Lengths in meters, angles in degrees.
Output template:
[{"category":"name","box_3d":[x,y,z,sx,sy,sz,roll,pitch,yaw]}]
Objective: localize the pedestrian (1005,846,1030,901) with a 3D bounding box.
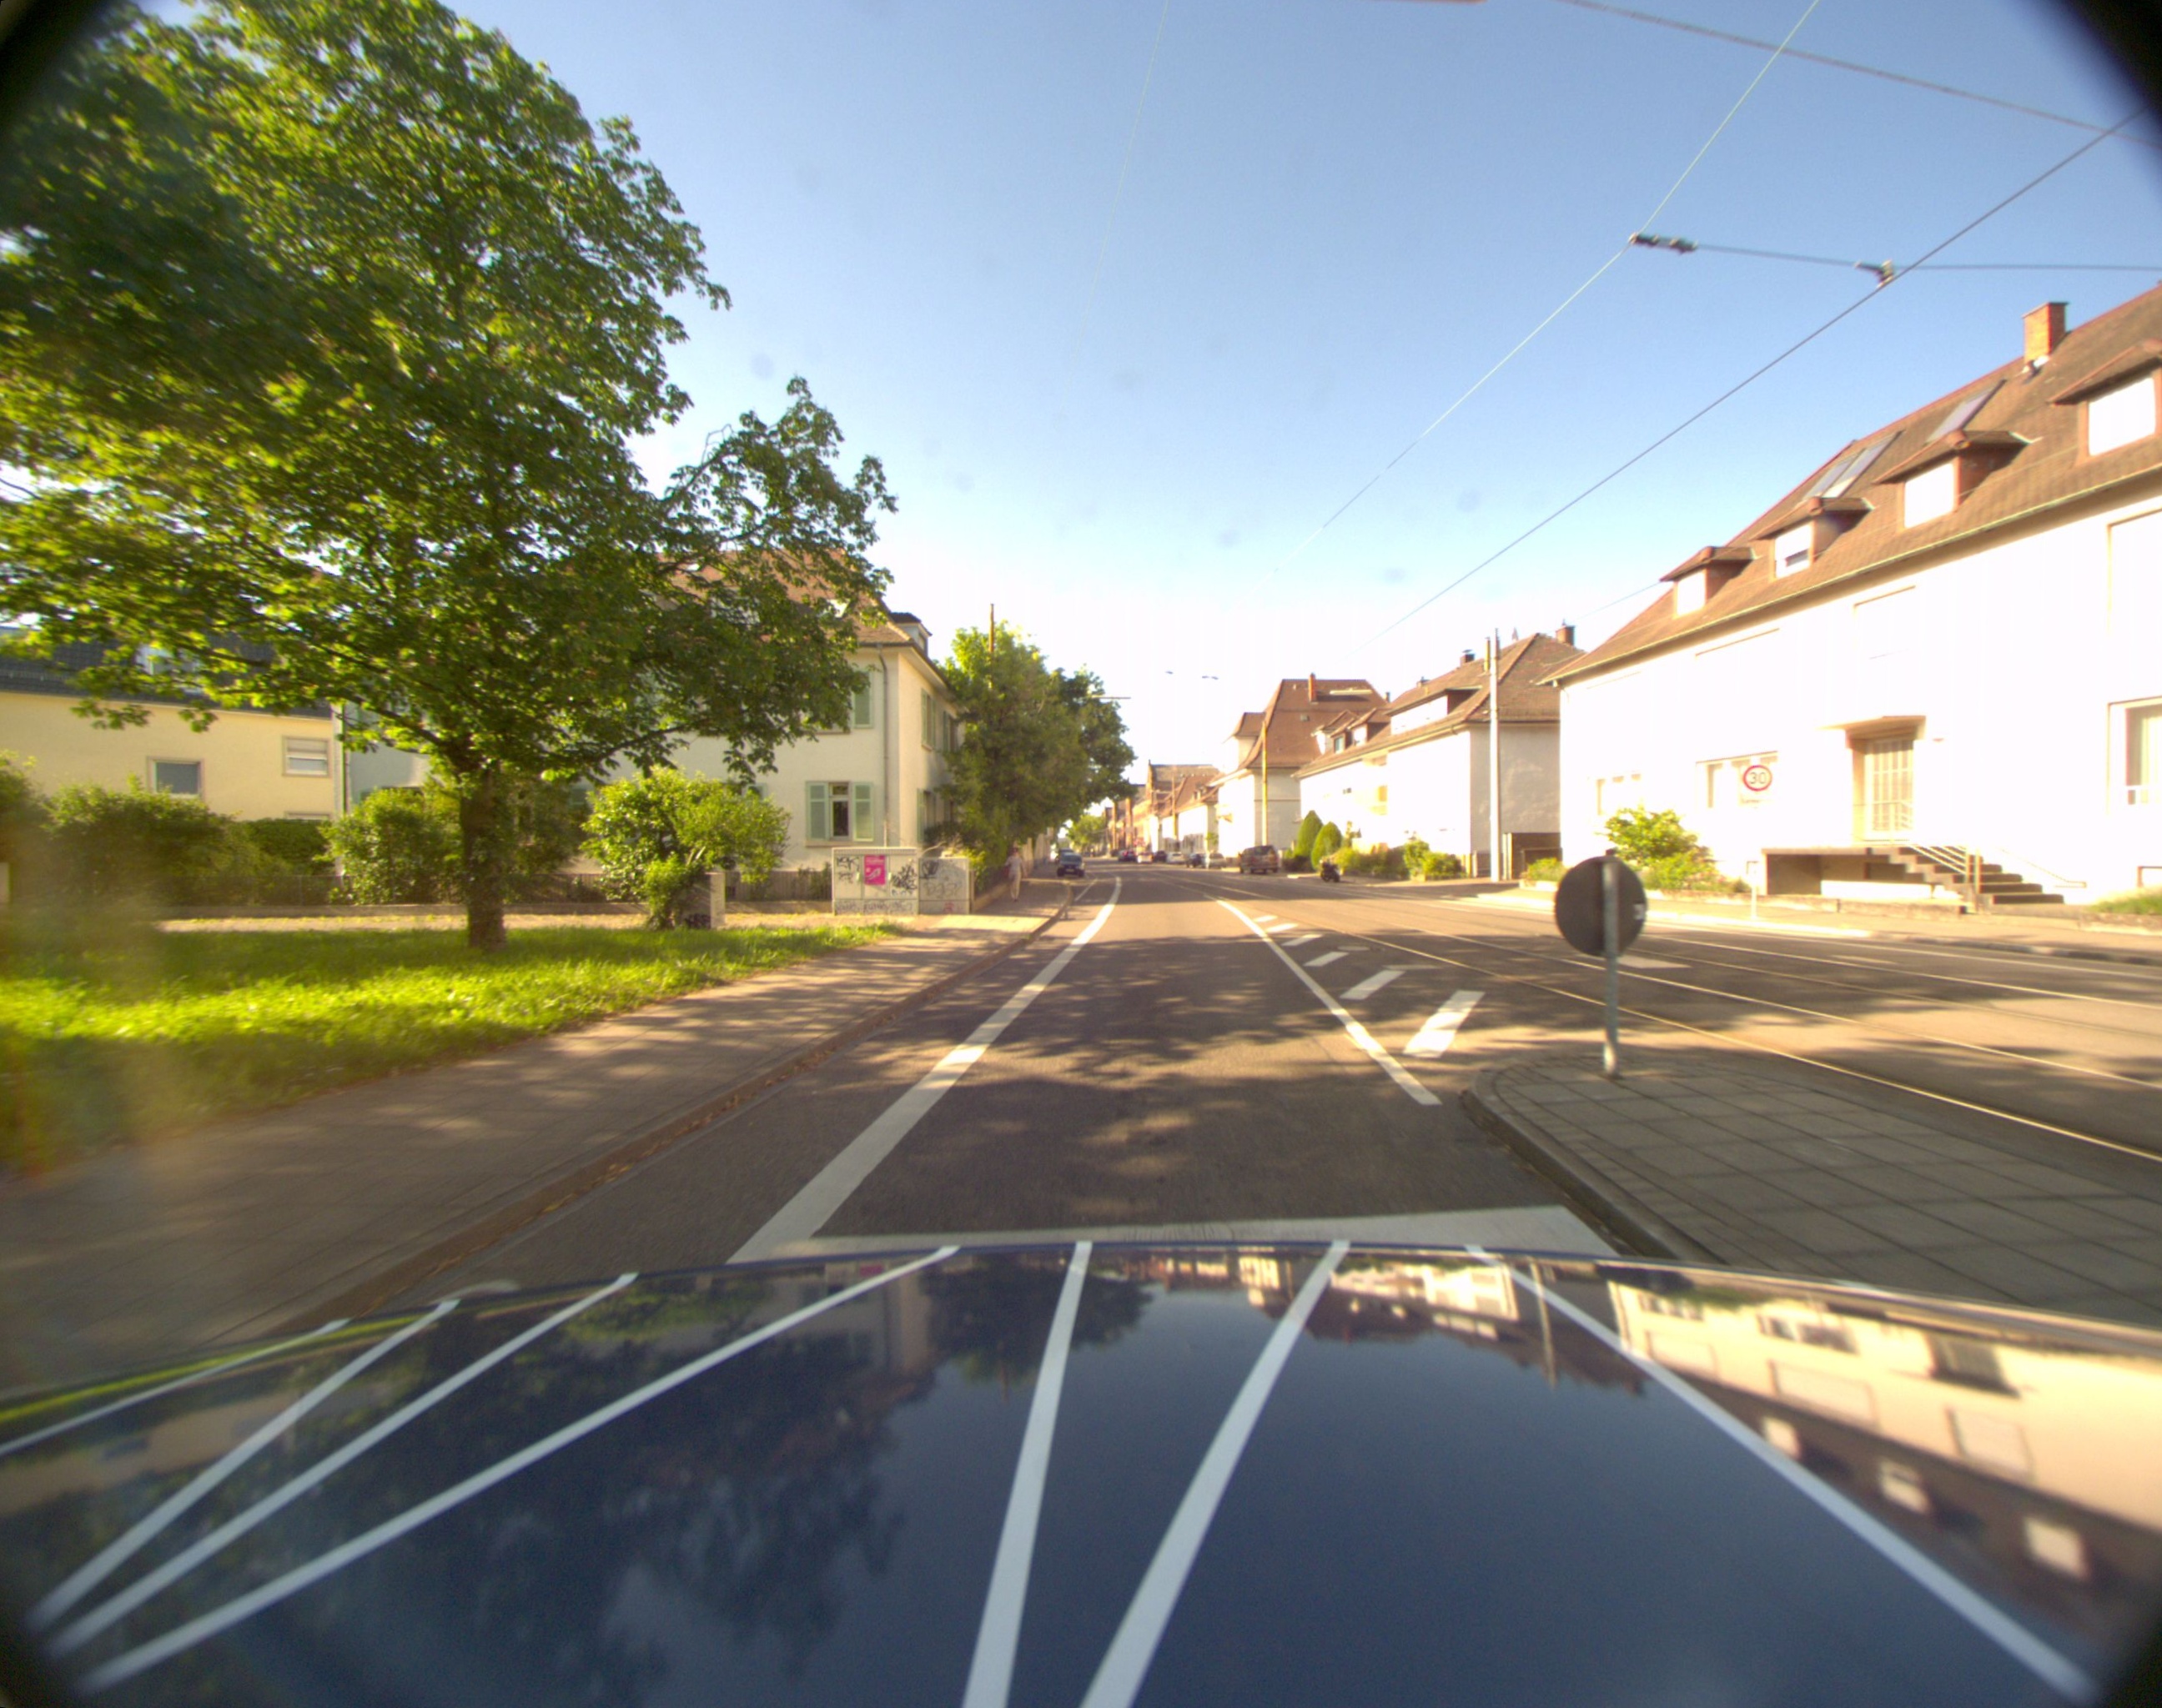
[{"category":"pedestrian","box_3d":[-1.948,0.594,23.526,0.655,1.664,0.943,1,1,1]}]

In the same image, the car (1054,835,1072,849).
[{"category":"car","box_3d":[-2.024,-1.348,88.263,1.705,1.541,4.001,-2,0,4]}]

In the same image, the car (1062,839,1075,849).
[{"category":"car","box_3d":[-2.080,-1.579,124.575,1.705,1.541,4.001,-2,0,4]}]

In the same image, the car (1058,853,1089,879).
[{"category":"car","box_3d":[-0.439,0.747,49.431,1.705,1.541,4.001,-2,0,4]}]

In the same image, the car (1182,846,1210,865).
[{"category":"car","box_3d":[11.063,0.138,73.227,1.924,1.705,3.999,-2,0,-1]}]

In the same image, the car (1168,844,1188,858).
[{"category":"car","box_3d":[11.208,-0.357,88.308,1.923,1.556,4.000,-2,0,2]}]

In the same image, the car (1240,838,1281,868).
[{"category":"car","box_3d":[12.394,-0.066,52.647,1.924,1.890,4.000,-2,0,1]}]

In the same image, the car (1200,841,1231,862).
[{"category":"car","box_3d":[11.857,-0.227,67.220,1.924,1.705,3.999,-2,0,-1]}]

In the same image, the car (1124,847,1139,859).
[{"category":"car","box_3d":[7.129,-0.152,107.584,1.923,1.705,4.000,-2,0,2]}]

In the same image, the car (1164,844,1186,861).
[{"category":"car","box_3d":[10.223,-0.163,82.919,1.923,1.705,4.000,-2,0,2]}]

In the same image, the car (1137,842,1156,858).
[{"category":"car","box_3d":[7.409,-0.449,86.738,1.923,1.705,4.000,-2,0,2]}]

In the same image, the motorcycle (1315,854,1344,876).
[{"category":"motorcycle","box_3d":[12.324,0.518,37.719,0.605,1.040,2.437,-2,0,1]}]

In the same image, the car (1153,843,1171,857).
[{"category":"car","box_3d":[10.996,-0.540,103.040,1.924,1.705,4.000,-3,0,0]}]
